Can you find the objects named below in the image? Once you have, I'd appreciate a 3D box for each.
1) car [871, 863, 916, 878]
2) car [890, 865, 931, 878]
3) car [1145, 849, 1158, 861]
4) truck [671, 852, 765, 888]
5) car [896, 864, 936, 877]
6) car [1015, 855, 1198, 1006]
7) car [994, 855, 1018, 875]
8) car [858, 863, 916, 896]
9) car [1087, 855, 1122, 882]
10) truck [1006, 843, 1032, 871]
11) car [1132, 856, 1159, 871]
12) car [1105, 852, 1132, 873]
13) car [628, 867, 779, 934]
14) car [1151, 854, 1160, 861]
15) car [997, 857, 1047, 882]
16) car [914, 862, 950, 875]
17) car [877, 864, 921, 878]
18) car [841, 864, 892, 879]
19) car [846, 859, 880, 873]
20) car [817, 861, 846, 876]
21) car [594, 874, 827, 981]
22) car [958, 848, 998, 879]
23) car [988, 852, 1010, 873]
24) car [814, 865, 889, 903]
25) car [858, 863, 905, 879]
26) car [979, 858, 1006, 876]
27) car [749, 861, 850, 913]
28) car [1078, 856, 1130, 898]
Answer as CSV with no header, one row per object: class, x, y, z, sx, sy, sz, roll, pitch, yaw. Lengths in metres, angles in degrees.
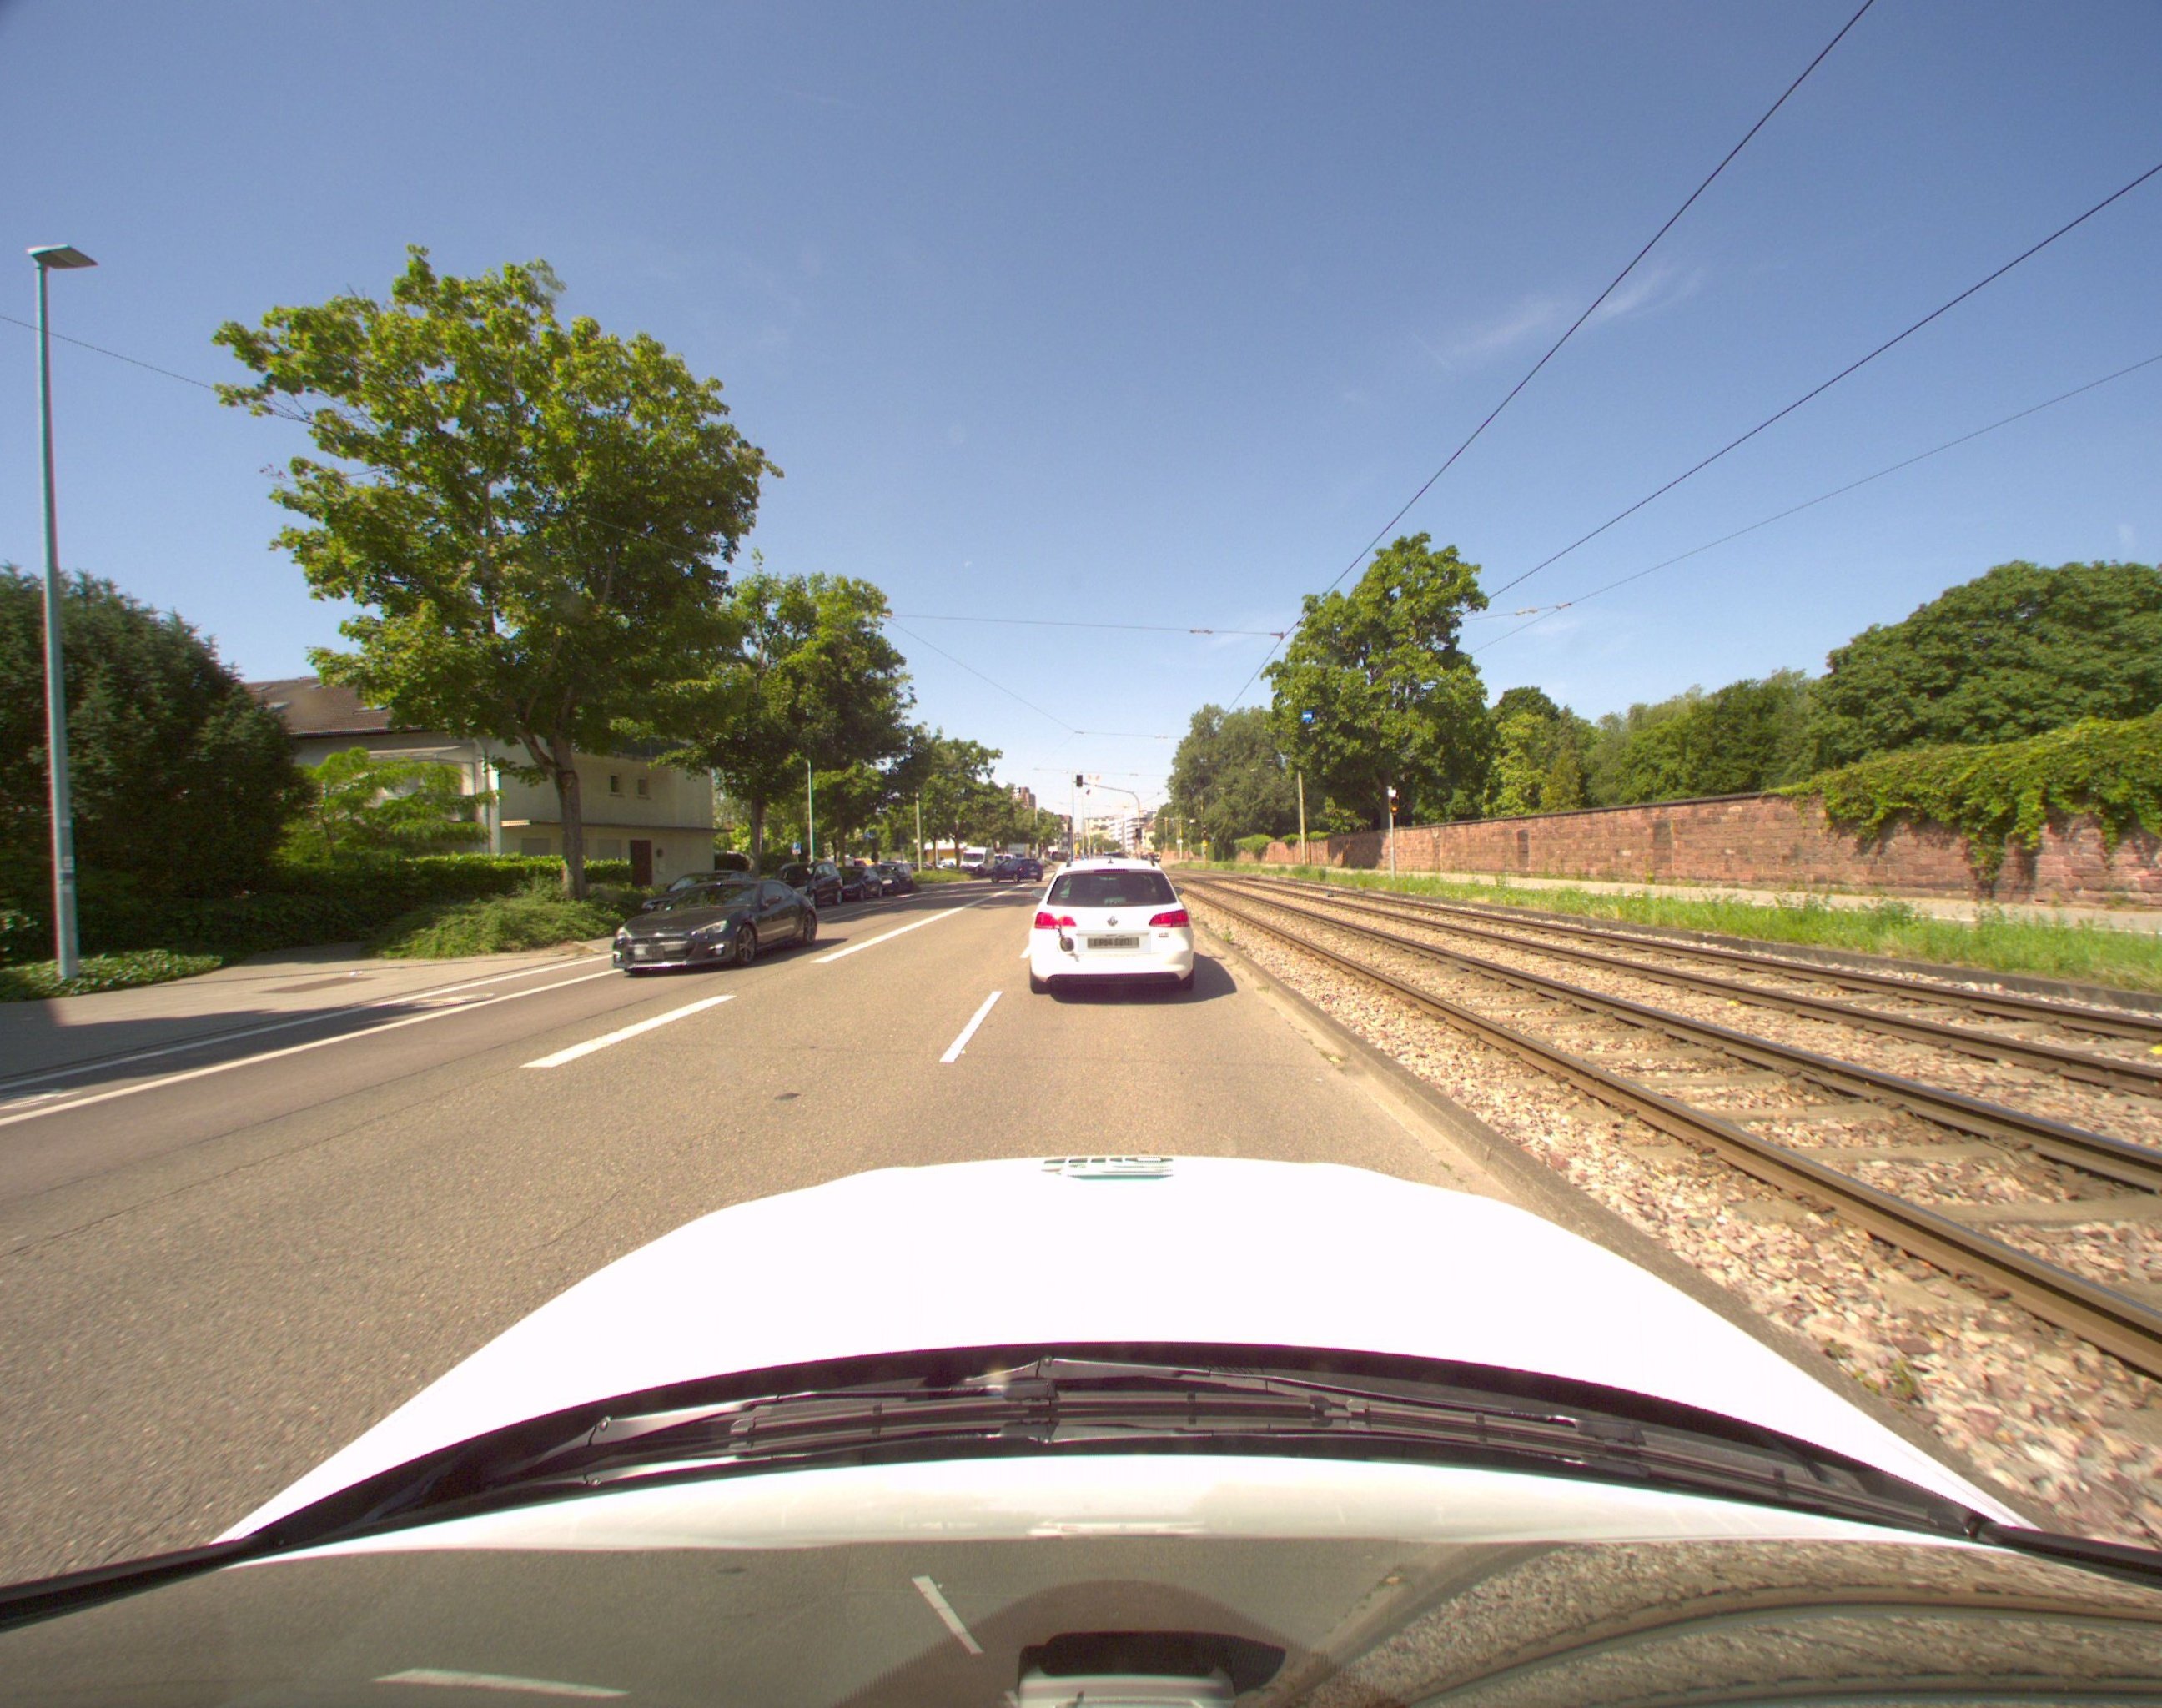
car,-18.744,1.651,81.342,3.969,1.264,1.773,-2,0,4
car,-18.599,1.888,88.728,3.969,1.225,1.773,-2,0,4
car,15.586,0.309,179.752,2.454,2.499,5.912,0,-1,1
truck,-31.619,1.380,71.177,7.119,3.019,2.231,1,0,-1
car,-18.412,1.862,90.845,3.969,1.225,1.773,-2,0,4
car,0.286,0.744,9.818,1.762,1.446,3.913,0,0,1
car,-8.120,1.175,88.584,1.836,1.960,5.137,-2,0,2
car,-9.298,1.195,39.329,1.635,1.450,4.007,0,0,3
car,1.368,0.764,45.636,1.853,1.416,4.328,0,0,3
truck,-7.409,0.356,97.330,2.348,3.122,6.892,-2,0,1
car,6.415,0.940,80.718,1.731,1.407,3.933,0,0,20
car,2.890,0.636,62.436,1.852,1.513,3.919,0,0,6
car,-9.896,1.155,21.856,1.835,1.465,4.907,-2,0,-2
car,14.380,0.697,156.876,1.576,1.346,3.455,0,-1,1
car,-3.560,0.911,48.468,1.754,1.407,3.881,0,0,-25
car,-18.008,1.750,98.526,3.969,1.444,1.773,-2,0,4
car,-18.696,1.748,83.819,3.969,1.225,1.773,-2,0,4
car,-19.172,1.565,72.921,3.969,1.225,1.773,-2,0,4
car,-30.517,1.682,114.233,4.249,2.014,1.997,0,-1,-5
car,-33.427,1.911,109.227,3.412,1.876,1.552,-2,0,-1
car,-5.616,1.035,12.975,1.681,1.244,4.065,-4,0,1
car,-8.689,0.756,69.176,2.049,2.501,6.315,1,0,4
car,-8.293,0.844,82.578,1.839,1.937,5.189,-2,0,-2
car,-9.634,1.209,34.588,1.684,1.379,4.784,-2,0,1
car,-19.314,1.663,78.796,3.969,1.350,1.773,-2,0,4
car,-8.138,1.150,75.387,1.837,1.516,4.198,-2,0,2
car,-9.789,1.092,28.759,1.755,1.606,4.895,-1,0,1
car,0.817,0.774,28.978,1.739,1.388,3.914,0,0,1
